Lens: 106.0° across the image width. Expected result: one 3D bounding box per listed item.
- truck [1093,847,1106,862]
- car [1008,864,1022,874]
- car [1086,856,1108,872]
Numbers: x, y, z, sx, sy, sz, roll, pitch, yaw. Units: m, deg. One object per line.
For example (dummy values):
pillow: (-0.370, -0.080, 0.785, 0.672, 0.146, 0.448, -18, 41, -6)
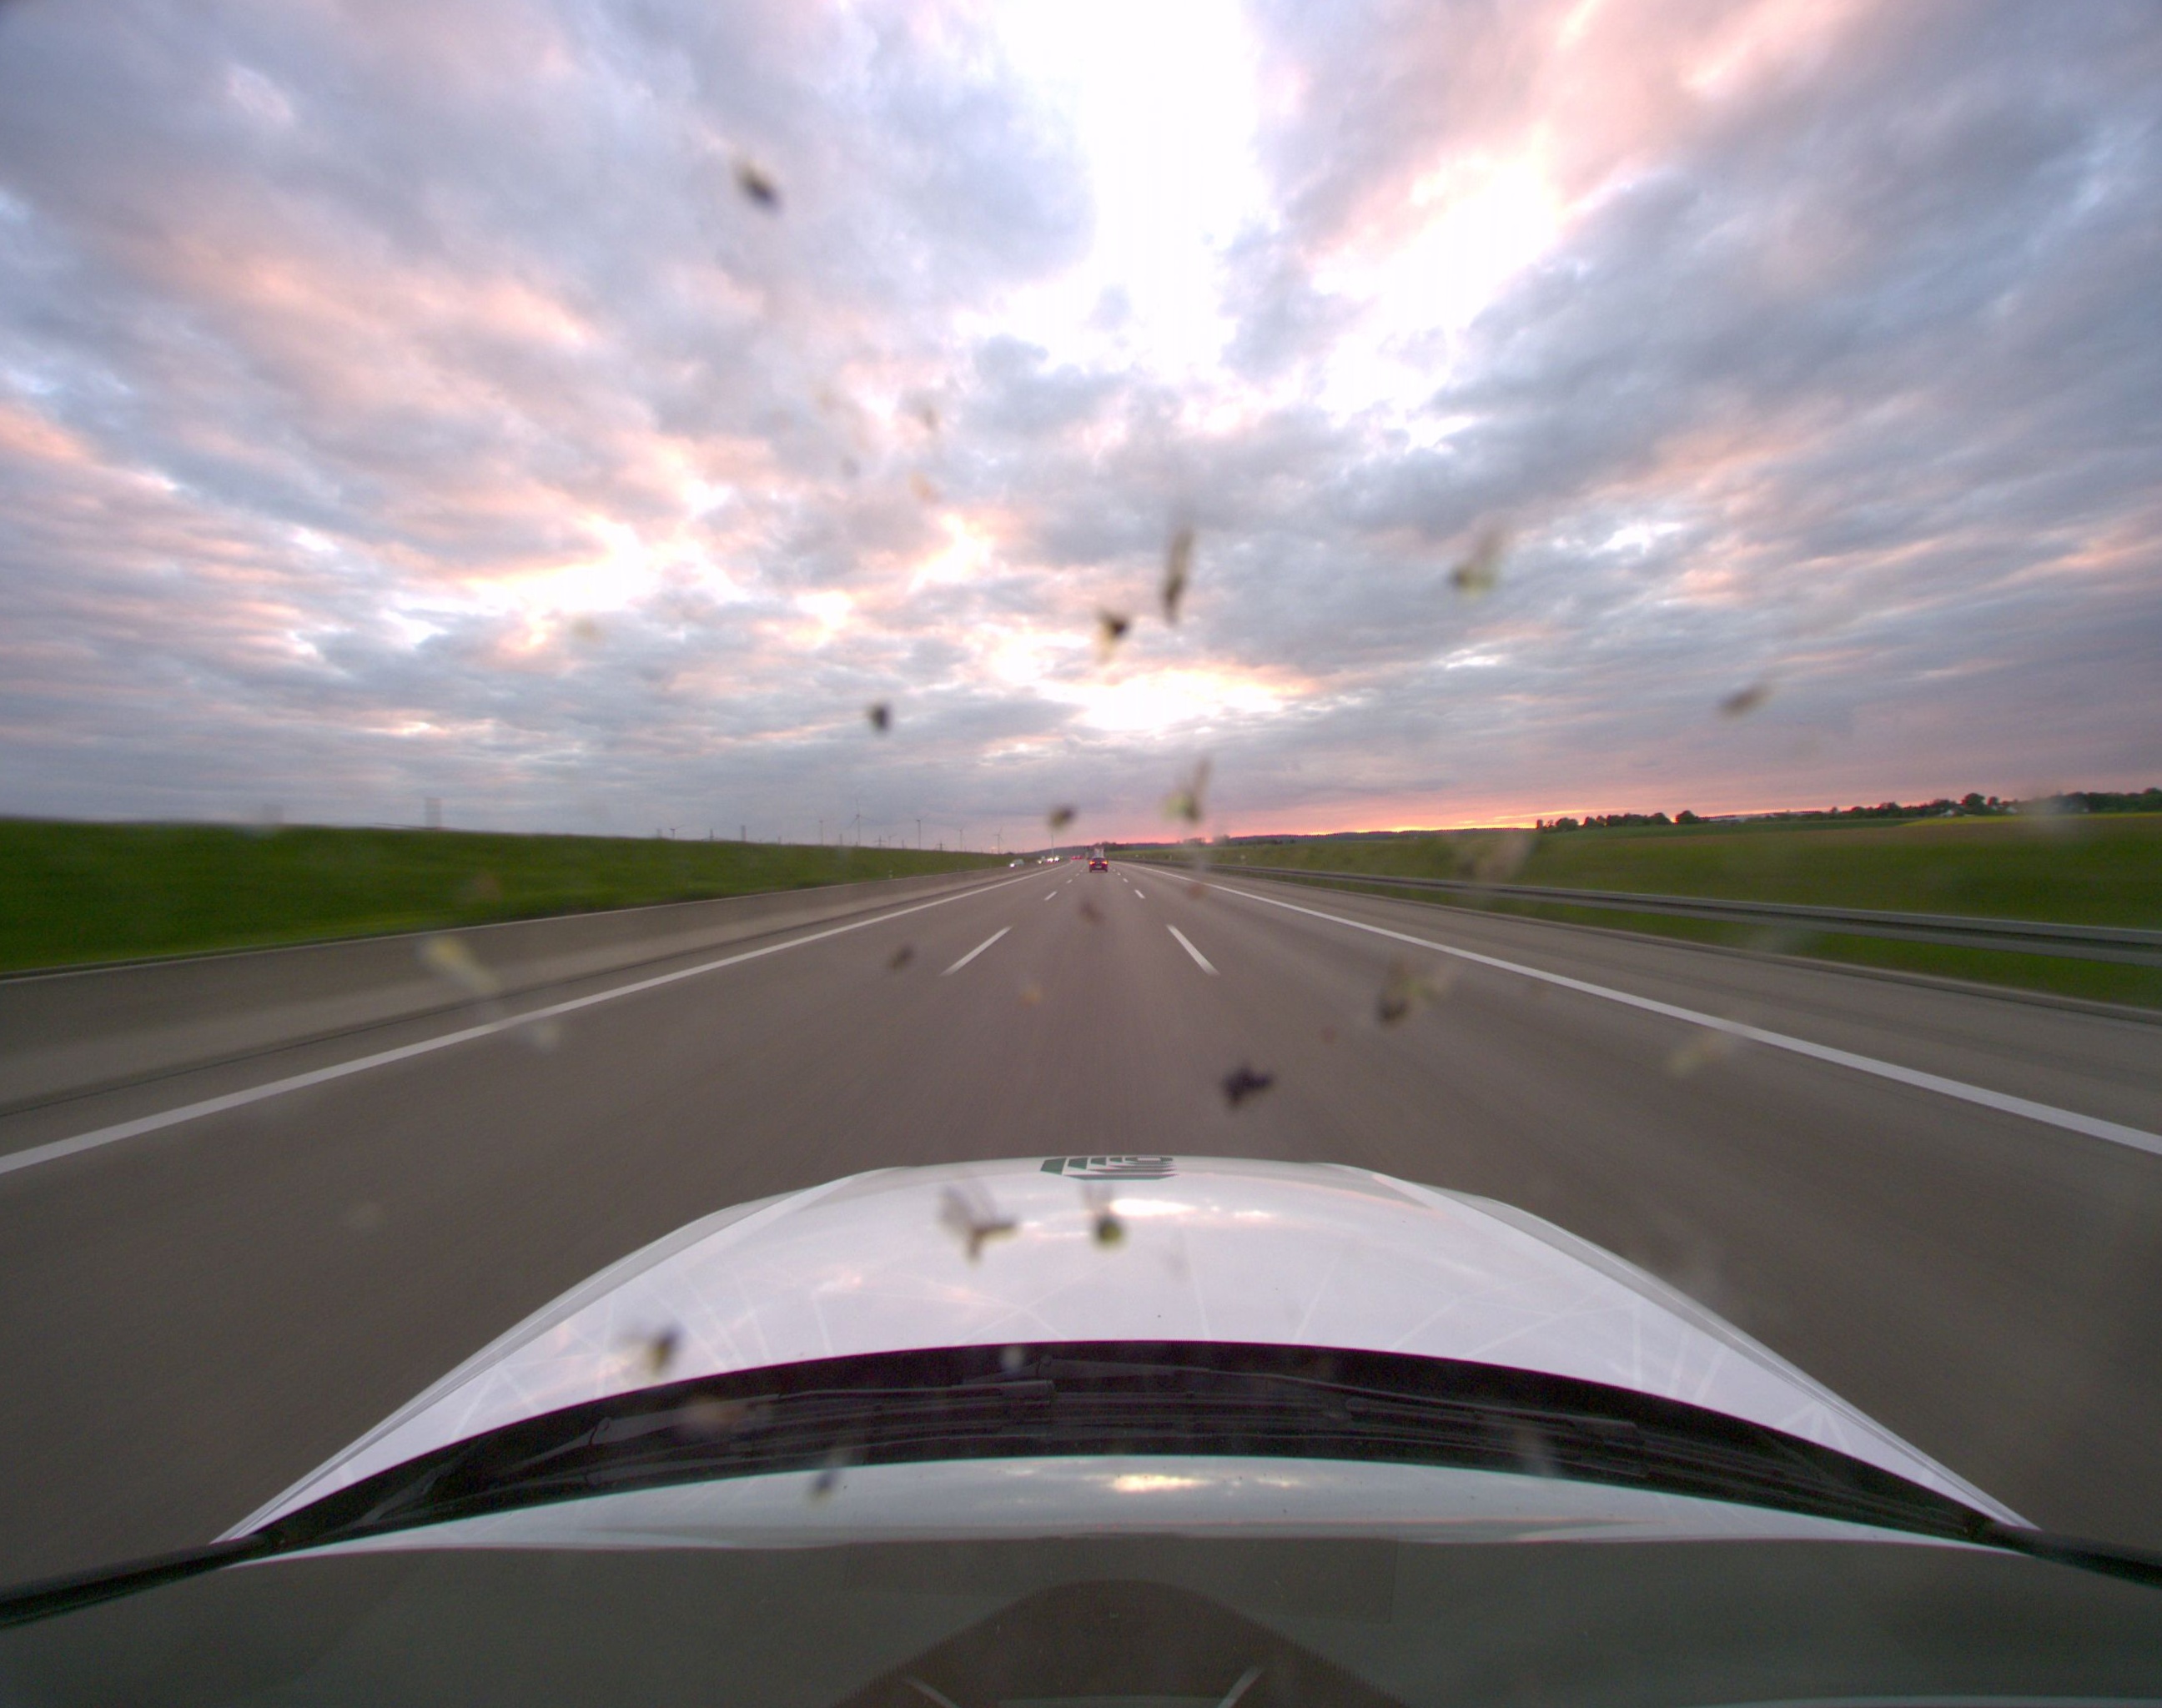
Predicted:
truck: (6.031, 0.216, 265.735, 3.664, 4.565, 10.976, -2, 0, -1)
car: (-9.517, 2.124, 117.194, 1.572, 1.385, 3.772, -3, 0, 0)
car: (1.581, 0.934, 77.691, 1.980, 1.429, 4.002, -2, 0, 2)
